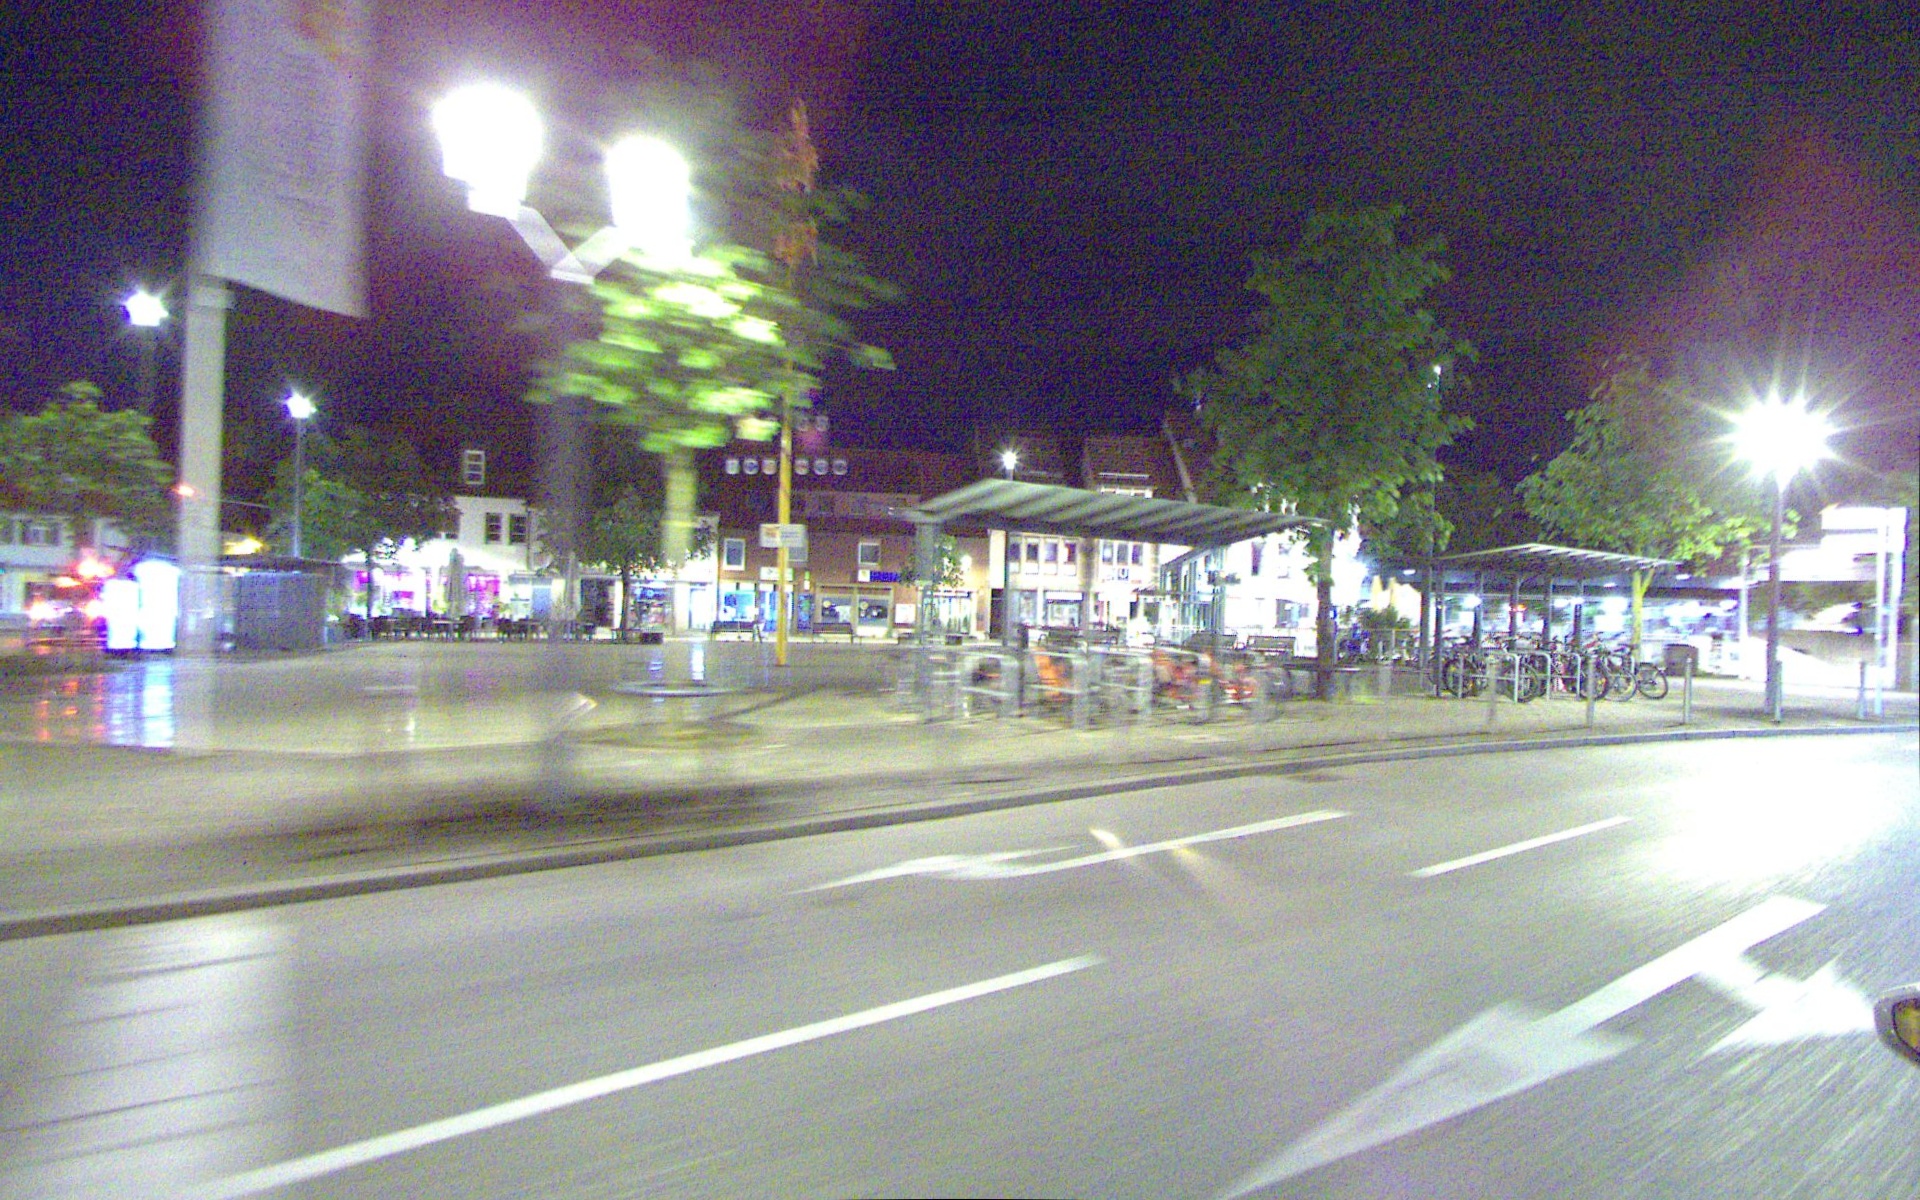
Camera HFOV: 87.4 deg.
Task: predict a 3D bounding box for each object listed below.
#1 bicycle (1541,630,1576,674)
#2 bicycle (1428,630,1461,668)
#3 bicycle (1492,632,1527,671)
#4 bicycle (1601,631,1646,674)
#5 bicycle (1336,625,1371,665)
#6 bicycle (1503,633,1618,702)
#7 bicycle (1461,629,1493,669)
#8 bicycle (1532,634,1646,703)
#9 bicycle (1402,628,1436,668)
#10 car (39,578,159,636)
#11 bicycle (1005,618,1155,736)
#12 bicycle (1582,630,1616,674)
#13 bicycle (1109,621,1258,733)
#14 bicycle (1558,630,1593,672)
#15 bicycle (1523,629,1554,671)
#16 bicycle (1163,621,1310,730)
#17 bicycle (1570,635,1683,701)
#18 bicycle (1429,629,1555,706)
[{"bbox_3d":[17.272,1.483,29.018,0.597,1.181,1.746,0,0,22],"label":"bicycle"},{"bbox_3d":[15.025,1.497,31.126,0.599,1.115,1.740,0,0,36],"label":"bicycle"},{"bbox_3d":[16.331,1.522,29.868,0.597,1.084,1.747,0,0,19],"label":"bicycle"},{"bbox_3d":[19.265,1.503,29.208,0.746,1.177,1.746,0,0,22],"label":"bicycle"},{"bbox_3d":[12.547,1.419,32.024,0.599,1.235,1.740,0,0,36],"label":"bicycle"},{"bbox_3d":[10.659,1.185,17.872,0.664,1.120,1.605,3,-1,-35],"label":"bicycle"},{"bbox_3d":[15.863,1.482,30.784,0.599,1.140,1.740,0,0,36],"label":"bicycle"},{"bbox_3d":[11.358,1.213,18.171,0.663,1.120,1.605,2,-1,-35],"label":"bicycle"},{"bbox_3d":[14.232,1.477,31.134,0.599,1.181,1.740,0,0,36],"label":"bicycle"},{"bbox_3d":[-31.530,0.260,36.941,1.931,1.962,4.397,0,0,-20],"label":"car"},{"bbox_3d":[1.379,0.869,11.891,0.778,1.173,1.825,2,1,-30],"label":"bicycle"},{"bbox_3d":[18.429,1.483,28.989,0.534,1.170,1.746,0,0,22],"label":"bicycle"},{"bbox_3d":[2.719,0.913,12.402,0.778,1.173,1.726,2,1,-30],"label":"bicycle"},{"bbox_3d":[18.237,1.485,29.792,0.597,1.181,1.746,0,0,22],"label":"bicycle"},{"bbox_3d":[17.449,1.489,30.296,0.599,1.181,1.740,0,0,37],"label":"bicycle"},{"bbox_3d":[3.487,0.918,12.816,0.778,1.182,1.726,1,2,-30],"label":"bicycle"},{"bbox_3d":[12.420,1.242,18.755,0.664,1.120,1.605,3,-1,-35],"label":"bicycle"},{"bbox_3d":[8.888,1.093,16.837,0.663,1.179,1.757,1,-1,-35],"label":"bicycle"}]
